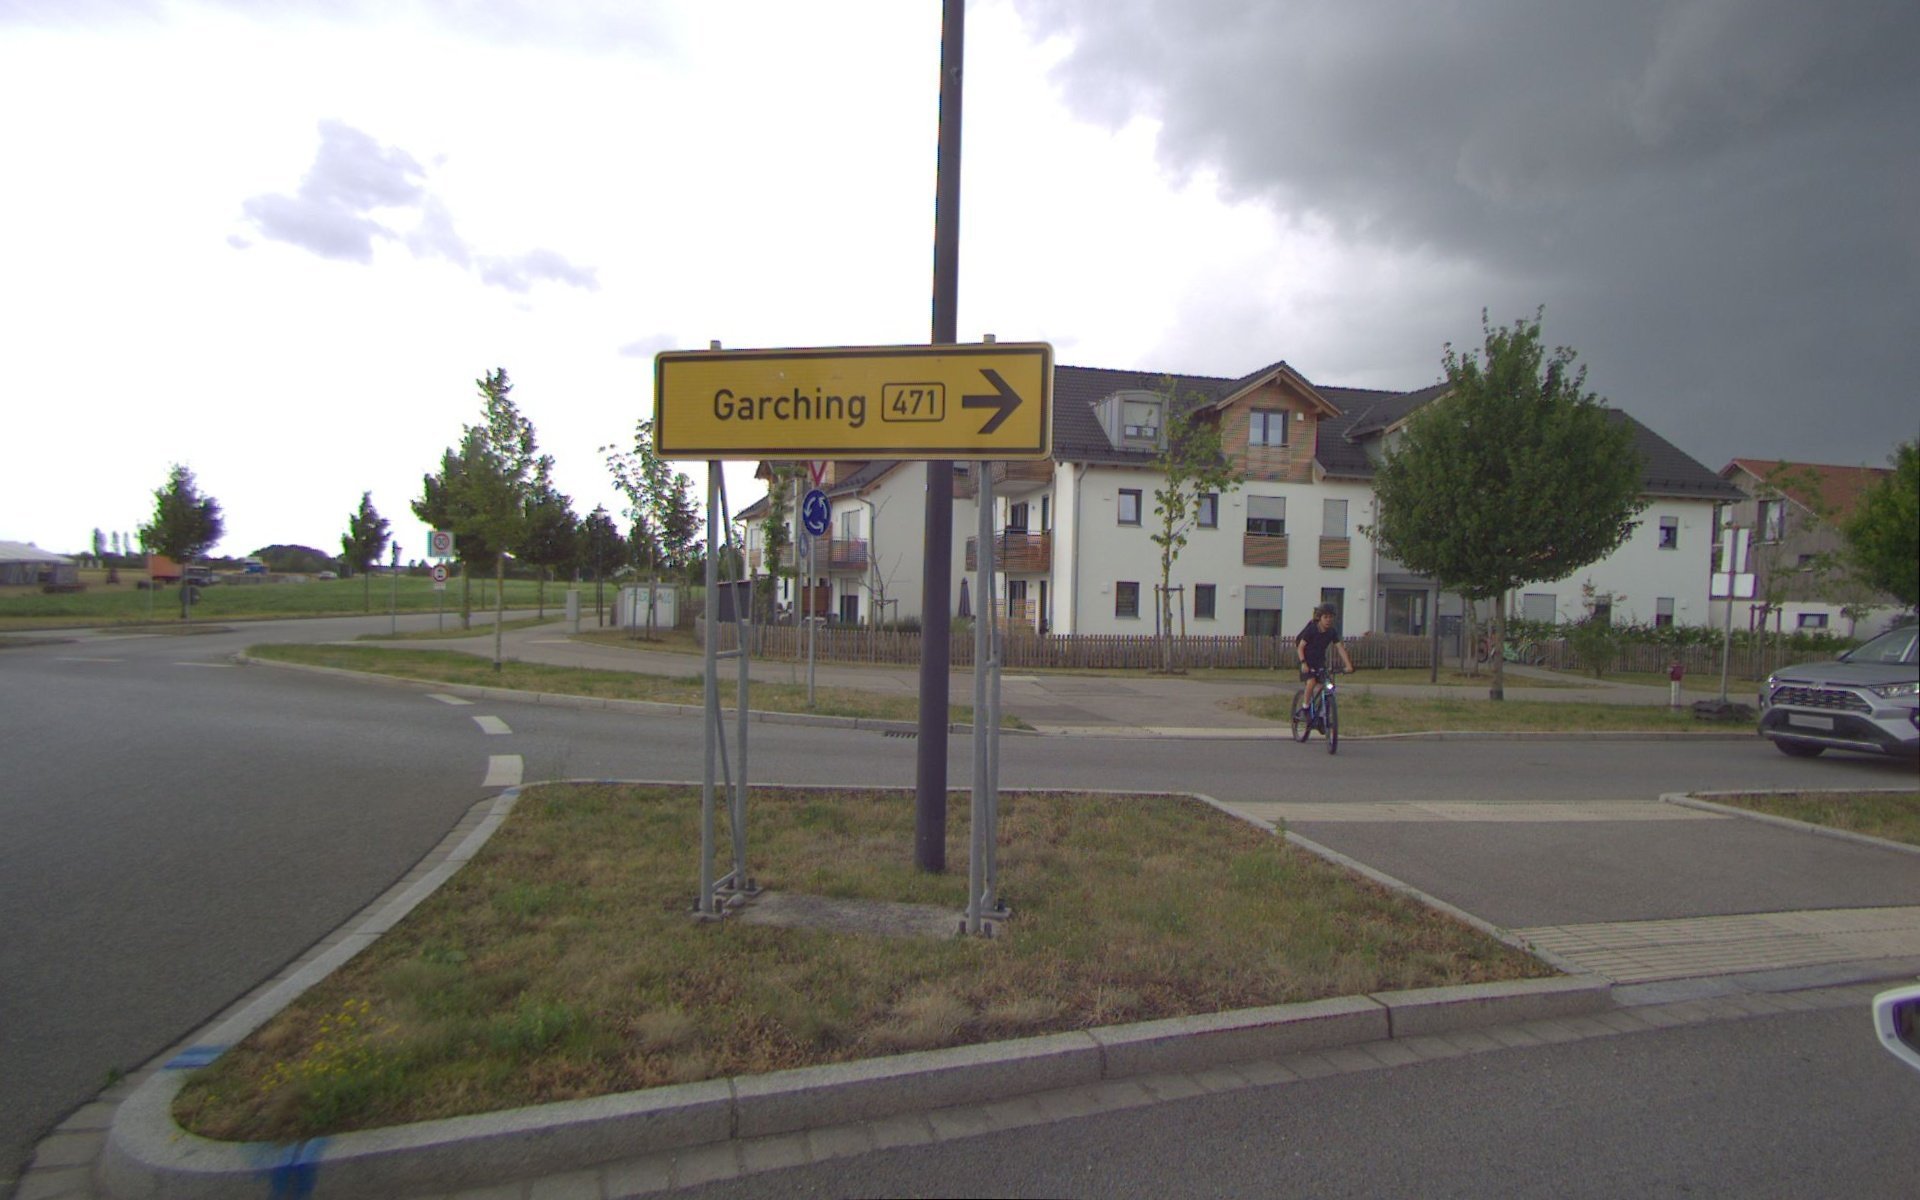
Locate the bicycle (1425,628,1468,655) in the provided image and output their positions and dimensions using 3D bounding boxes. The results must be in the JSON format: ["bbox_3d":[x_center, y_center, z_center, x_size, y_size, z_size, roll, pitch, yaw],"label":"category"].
[{"bbox_3d":[16.465,1.391,34.024,1.314,0.854,0.368,2,3,-12],"label":"bicycle"}]

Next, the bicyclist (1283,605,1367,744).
[{"bbox_3d":[4.046,0.794,11.178,0.710,1.466,0.870,1,0,9],"label":"bicyclist"}]

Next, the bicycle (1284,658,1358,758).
[{"bbox_3d":[4.010,1.164,11.244,0.487,0.959,1.715,1,-1,11],"label":"bicycle"}]

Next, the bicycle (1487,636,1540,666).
[{"bbox_3d":[17.151,1.579,31.148,1.520,0.854,0.367,2,3,-12],"label":"bicycle"}]

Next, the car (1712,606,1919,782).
[{"bbox_3d":[11.374,1.003,11.439,4.554,1.726,1.995,2,0,-12],"label":"car"}]

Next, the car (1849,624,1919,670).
[{"bbox_3d":[41.153,2.056,43.195,4.384,1.795,1.997,2,1,-9],"label":"car"}]

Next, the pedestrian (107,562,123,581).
[{"bbox_3d":[-94.065,-3.186,111.809,1.037,2.041,1.054,1,1,-25],"label":"pedestrian"}]
